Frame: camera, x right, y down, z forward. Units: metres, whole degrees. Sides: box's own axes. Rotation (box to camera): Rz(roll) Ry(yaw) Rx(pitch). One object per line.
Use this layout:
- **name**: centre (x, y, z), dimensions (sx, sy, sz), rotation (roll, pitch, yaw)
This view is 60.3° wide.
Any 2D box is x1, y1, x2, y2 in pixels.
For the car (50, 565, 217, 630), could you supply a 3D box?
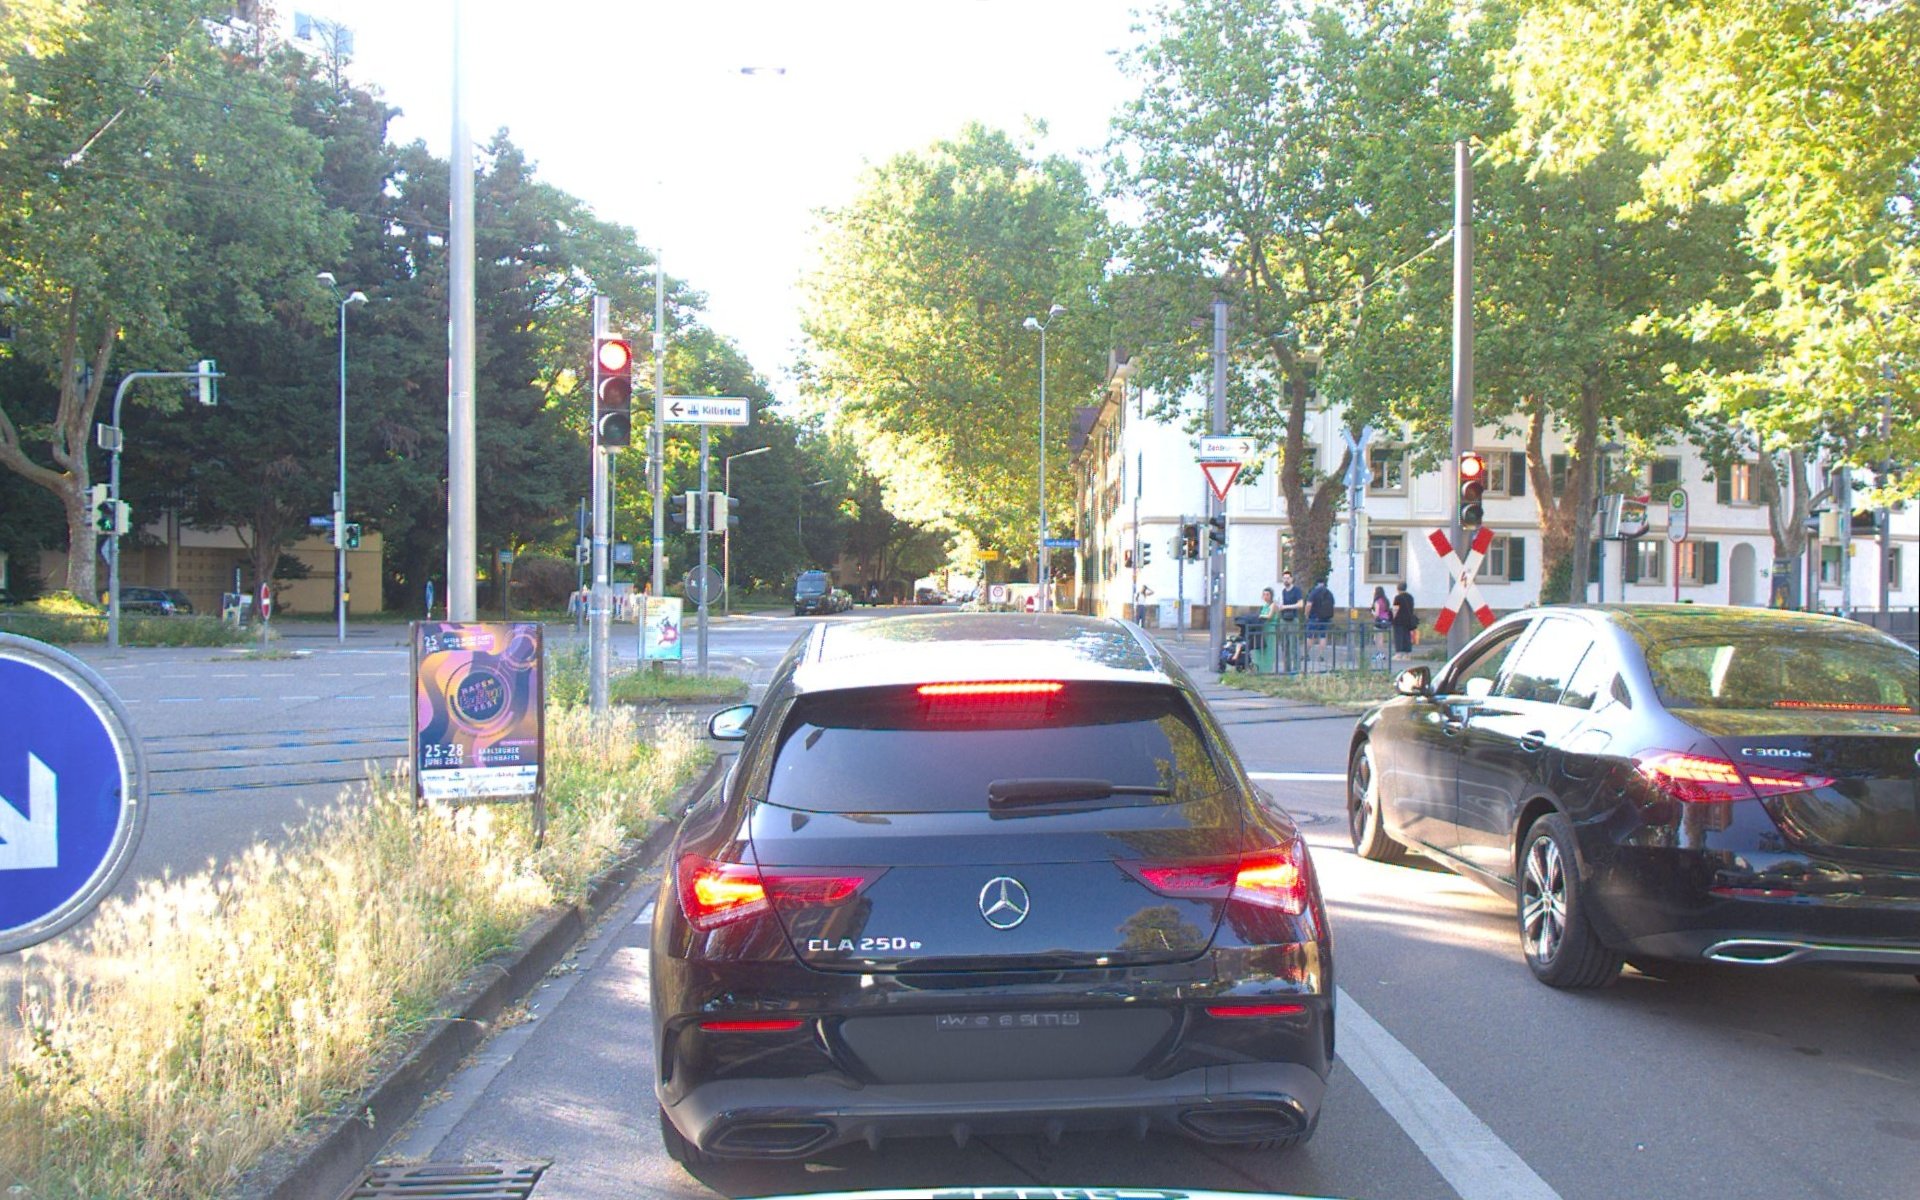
- **car**: centre (-24.372, -0.069, 48.852), dimensions (3.902, 1.805, 2.001), rotation (1, 0, 7)

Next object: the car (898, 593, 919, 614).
- **car**: centre (-4.522, 0.341, 145.489), dimensions (1.698, 1.796, 4.018), rotation (1, 0, -1)

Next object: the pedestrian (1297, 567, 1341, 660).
- **pedestrian**: centre (7.689, 0.289, 35.426), dimensions (0.691, 1.951, 0.838), rotation (1, -1, -4)

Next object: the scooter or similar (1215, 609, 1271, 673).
- **scooter or similar**: centre (5.157, 0.738, 30.155), dimensions (0.812, 1.124, 0.808), rotation (1, 0, -6)

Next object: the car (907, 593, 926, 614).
- **car**: centre (-3.947, 0.309, 150.319), dimensions (1.698, 1.796, 4.018), rotation (1, 0, -1)

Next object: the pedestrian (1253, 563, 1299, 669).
- **pedestrian**: centre (5.915, 0.306, 30.976), dimensions (0.669, 1.951, 0.706), rotation (1, -1, -5)

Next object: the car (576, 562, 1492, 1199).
- **car**: centre (0.165, 0.664, 5.388), dimensions (1.851, 1.475, 4.001), rotation (1, 2, 0)

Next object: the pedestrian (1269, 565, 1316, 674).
- **pedestrian**: centre (6.072, 0.359, 30.206), dimensions (0.669, 1.951, 0.707), rotation (1, -1, -3)

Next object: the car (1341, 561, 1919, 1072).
- **car**: centre (3.143, 0.637, 7.348), dimensions (1.851, 1.516, 4.382), rotation (1, 2, 0)

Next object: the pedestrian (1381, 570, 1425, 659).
- **pedestrian**: centre (9.862, 0.315, 36.815), dimensions (0.691, 1.951, 0.838), rotation (1, -1, -4)

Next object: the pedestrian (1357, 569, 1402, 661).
- **pedestrian**: centre (9.071, 0.328, 35.803), dimensions (0.691, 1.951, 0.838), rotation (1, -1, -4)

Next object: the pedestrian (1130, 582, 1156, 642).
- **pedestrian**: centre (5.994, 0.394, 54.157), dimensions (0.691, 1.951, 0.838), rotation (1, -1, -4)

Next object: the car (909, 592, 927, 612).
- **car**: centre (-3.995, 0.198, 158.402), dimensions (1.698, 1.796, 4.018), rotation (1, 0, -1)

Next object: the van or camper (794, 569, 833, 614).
- **van or camper**: centre (-8.787, -0.491, 99.612), dimensions (1.953, 2.586, 4.650), rotation (1, 0, -1)

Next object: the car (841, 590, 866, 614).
- **car**: centre (-8.102, 0.138, 126.275), dimensions (1.698, 1.796, 3.970), rotation (1, 0, -1)

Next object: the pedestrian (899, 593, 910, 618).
- **pedestrian**: centre (-4.358, 0.447, 129.954), dimensions (0.692, 1.951, 0.837), rotation (1, -1, -11)

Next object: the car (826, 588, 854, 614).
- **car**: centre (-8.479, 0.095, 117.438), dimensions (1.698, 1.796, 4.084), rotation (1, 0, -1)
